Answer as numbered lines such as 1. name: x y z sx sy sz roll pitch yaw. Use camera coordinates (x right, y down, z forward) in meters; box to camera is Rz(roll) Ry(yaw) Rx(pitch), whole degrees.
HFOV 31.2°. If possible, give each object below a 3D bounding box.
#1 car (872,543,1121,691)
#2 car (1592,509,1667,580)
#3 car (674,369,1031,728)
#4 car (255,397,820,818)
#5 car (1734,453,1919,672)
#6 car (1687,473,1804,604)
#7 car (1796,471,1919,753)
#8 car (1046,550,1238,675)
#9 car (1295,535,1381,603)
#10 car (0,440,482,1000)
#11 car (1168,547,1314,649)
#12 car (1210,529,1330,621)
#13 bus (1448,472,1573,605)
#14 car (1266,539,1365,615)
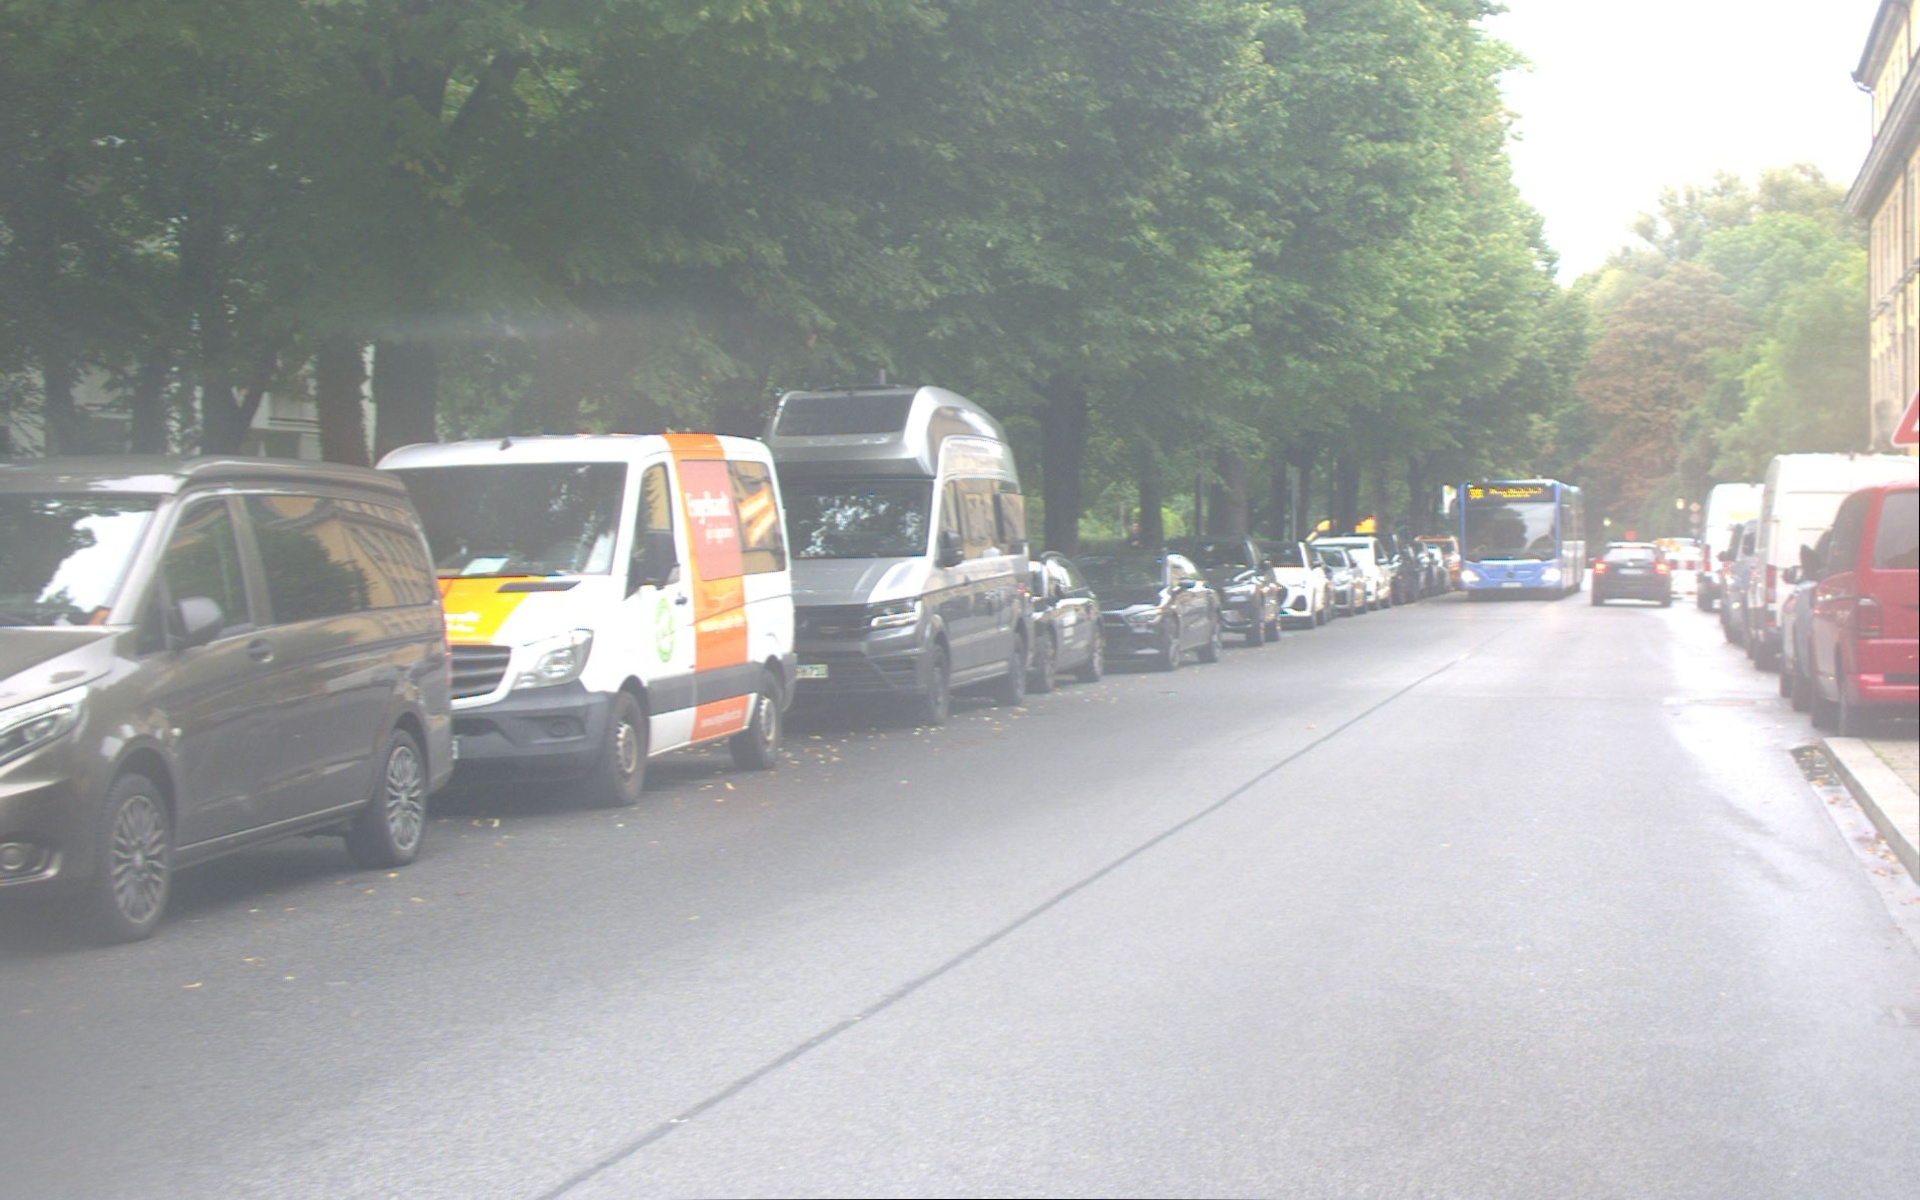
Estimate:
1. car: 0.471 0.141 36.871 1.791 1.433 4.576 0 1 12
2. car: 15.229 -1.248 78.081 1.578 1.578 4.042 0 1 12
3. car: -0.802 -0.411 30.493 1.946 2.845 6.233 0 0 10
4. car: -2.499 0.040 21.992 2.115 2.340 5.406 0 0 10
5. car: 10.664 -0.430 41.971 2.096 2.479 5.737 0 0 10
6. car: 16.869 -1.293 74.147 2.055 2.664 7.611 0 1 10
7. car: 7.598 0.080 26.573 1.859 1.961 5.442 0 0 10
8. car: 2.275 0.140 41.902 1.791 1.433 4.549 0 0 10
9. car: 8.503 -0.695 77.127 1.673 1.464 4.102 0 1 10
10. car: -3.860 0.377 14.846 1.946 1.957 5.457 -1 1 10
11. car: 4.209 -0.027 51.007 1.791 1.449 3.947 0 0 10
12. car: 5.594 -0.451 61.690 1.785 1.592 4.582 0 1 10
13. bus: 15.027 -1.500 92.881 2.861 3.228 18.417 0 0 11
14. car: 7.034 -0.458 67.793 1.673 1.464 4.102 0 1 10
